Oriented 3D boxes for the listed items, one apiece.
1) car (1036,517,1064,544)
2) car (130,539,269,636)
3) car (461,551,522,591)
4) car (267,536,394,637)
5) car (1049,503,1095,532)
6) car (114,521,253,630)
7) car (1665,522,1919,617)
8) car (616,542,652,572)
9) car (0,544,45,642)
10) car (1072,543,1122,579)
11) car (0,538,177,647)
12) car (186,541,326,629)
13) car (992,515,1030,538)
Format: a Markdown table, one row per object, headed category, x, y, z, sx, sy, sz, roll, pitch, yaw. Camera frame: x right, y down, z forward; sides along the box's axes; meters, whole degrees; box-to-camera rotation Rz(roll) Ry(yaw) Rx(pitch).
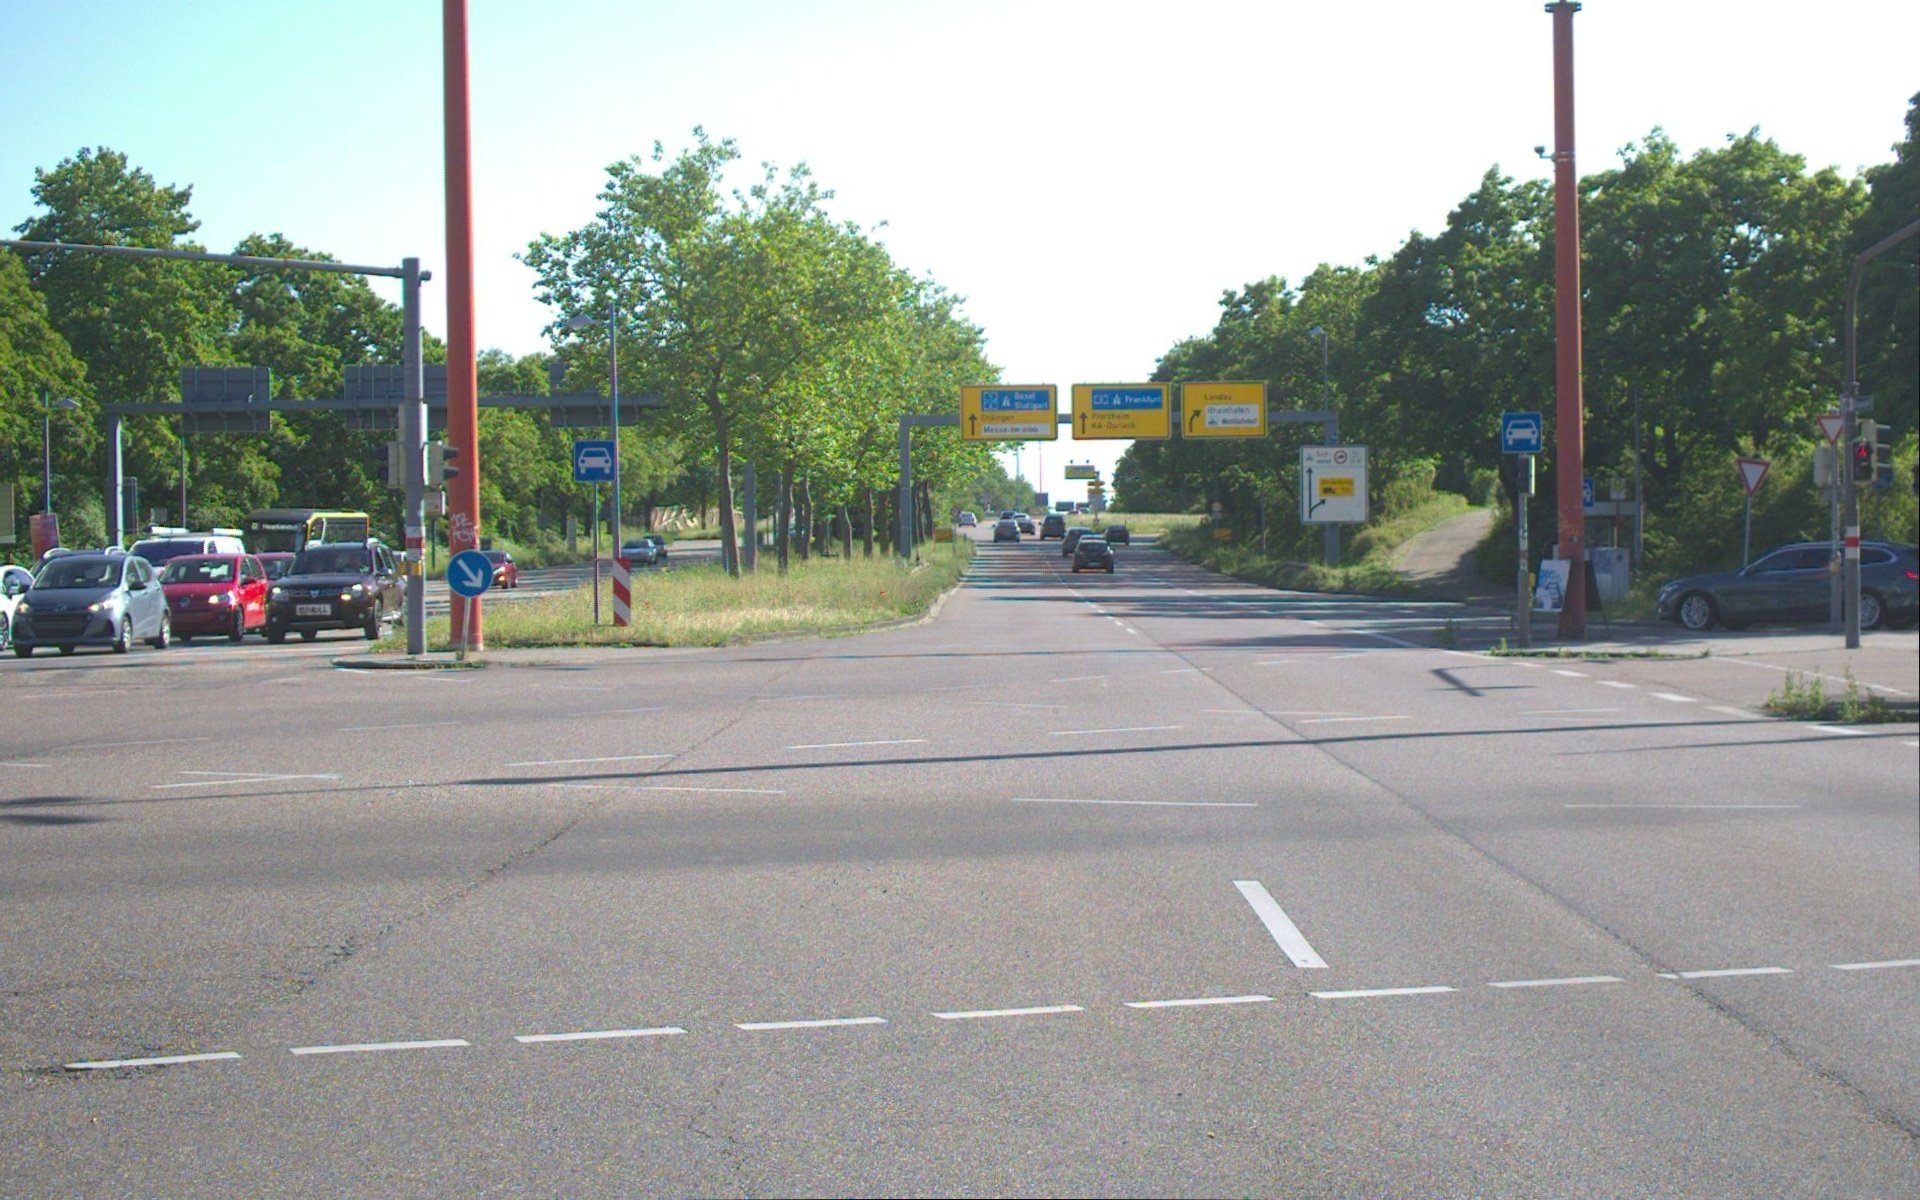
| category | x | y | z | sx | sy | sz | roll | pitch | yaw |
| --- | --- | --- | --- | --- | --- | --- | --- | --- | --- |
| car | 6.752 | -5.187 | 258.191 | 1.993 | 2.007 | 4.000 | -1 | 1 | -1 |
| car | -12.895 | -0.241 | 58.480 | 1.993 | 1.568 | 4.122 | -1 | 1 | -8 |
| car | -17.826 | -1.120 | 131.028 | 1.821 | 1.449 | 3.656 | -1 | 1 | 0 |
| car | -10.244 | -0.250 | 56.159 | 1.876 | 1.568 | 4.122 | -1 | 1 | -8 |
| car | 6.385 | -4.701 | 195.860 | 2.158 | 1.568 | 4.281 | -1 | 1 | -4 |
| car | -16.110 | -0.534 | 71.520 | 2.062 | 2.185 | 4.379 | -1 | 1 | -2 |
| car | 14.660 | -0.530 | 58.925 | 4.576 | 1.568 | 2.162 | 0 | 1 | 34 |
| car | -17.845 | -2.364 | 188.338 | 1.876 | 1.568 | 3.948 | -1 | 1 | -5 |
| car | -16.485 | -0.123 | 57.047 | 1.993 | 1.568 | 4.122 | -2 | 1 | -8 |
| car | 6.055 | -1.754 | 152.441 | 2.159 | 1.568 | 4.281 | -1 | 1 | 1 |
| car | -13.249 | -0.137 | 52.178 | 1.993 | 1.568 | 4.121 | -1 | 1 | -3 |
| car | -13.112 | -0.301 | 64.259 | 1.993 | 1.568 | 4.121 | -1 | 1 | -4 |
| car | 3.563 | -5.188 | 241.918 | 2.245 | 1.568 | 4.282 | -1 | 1 | -5 |
